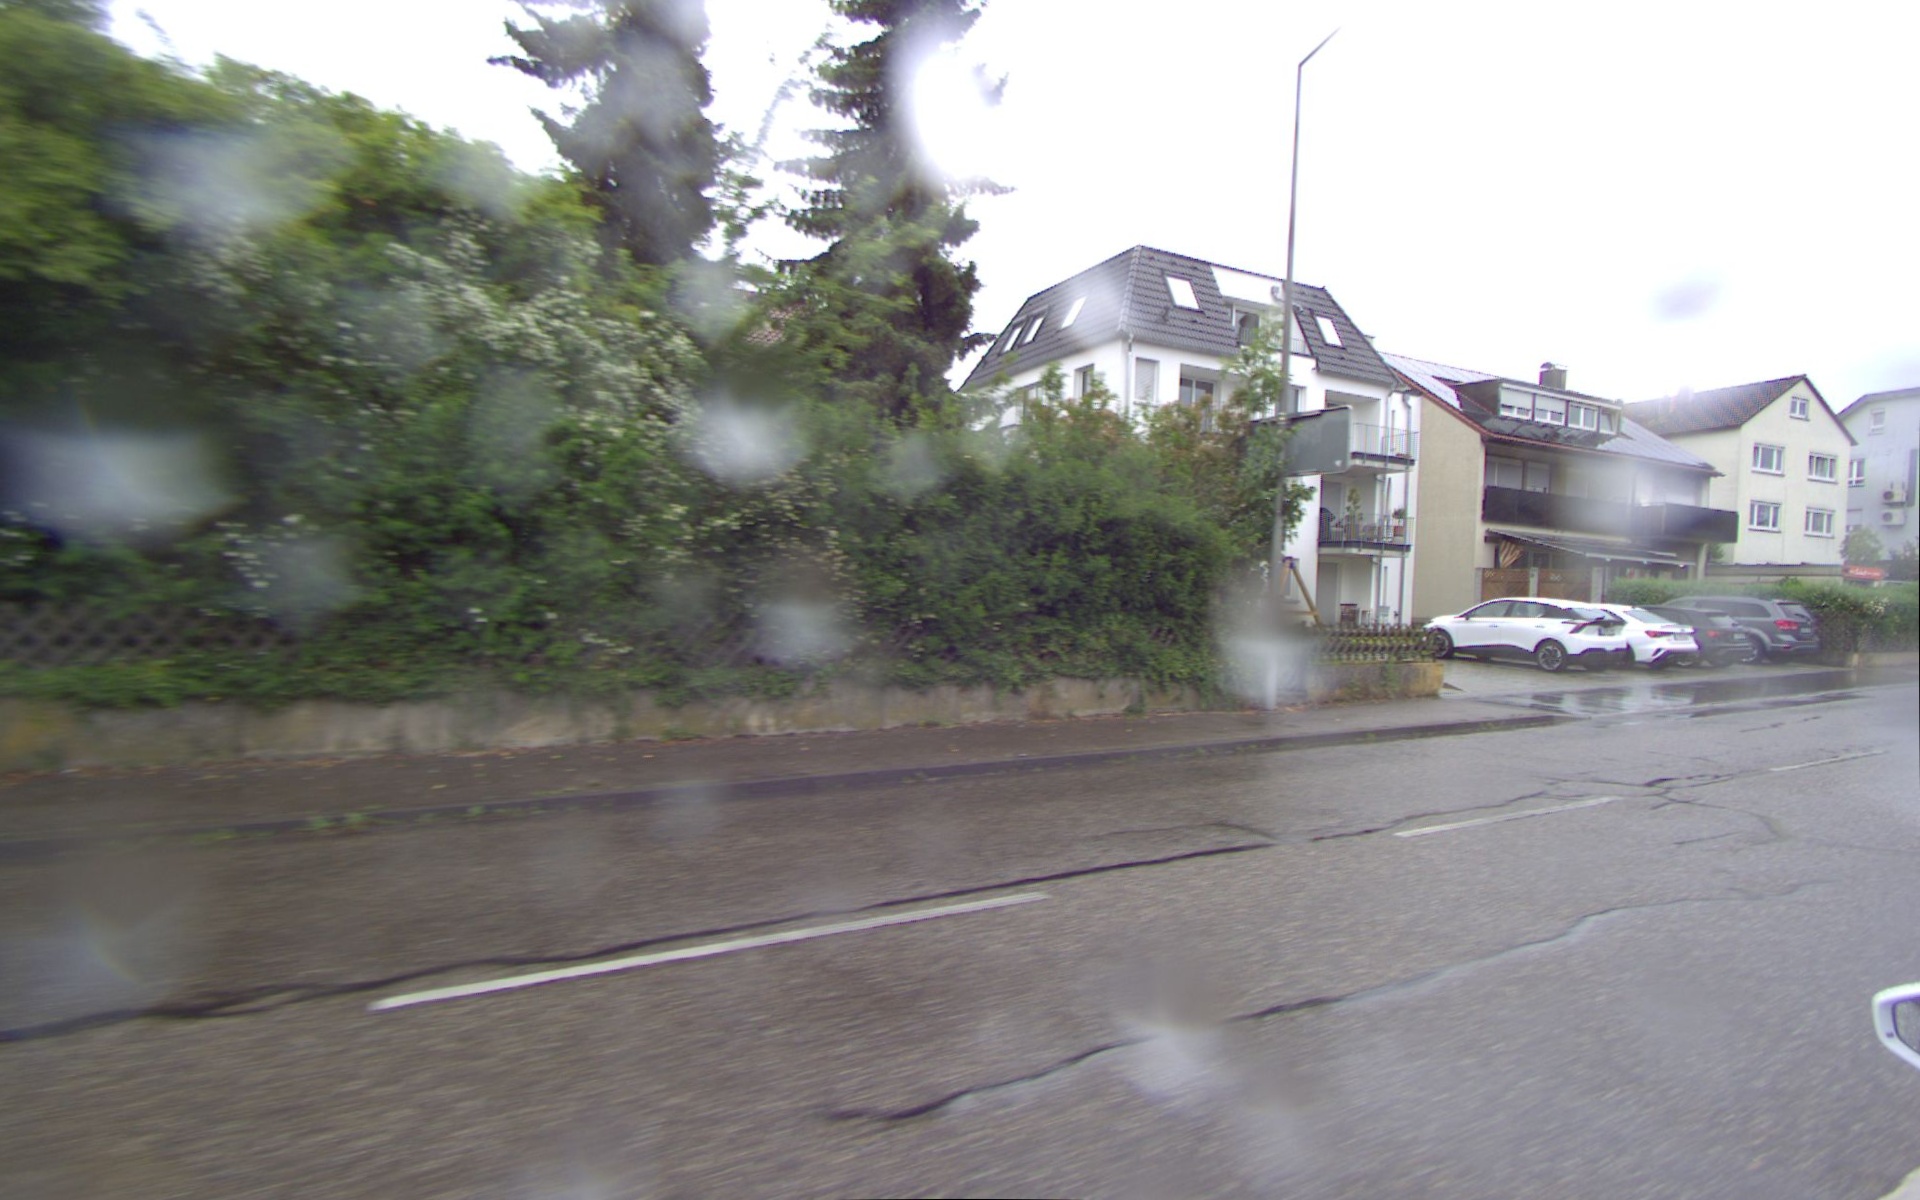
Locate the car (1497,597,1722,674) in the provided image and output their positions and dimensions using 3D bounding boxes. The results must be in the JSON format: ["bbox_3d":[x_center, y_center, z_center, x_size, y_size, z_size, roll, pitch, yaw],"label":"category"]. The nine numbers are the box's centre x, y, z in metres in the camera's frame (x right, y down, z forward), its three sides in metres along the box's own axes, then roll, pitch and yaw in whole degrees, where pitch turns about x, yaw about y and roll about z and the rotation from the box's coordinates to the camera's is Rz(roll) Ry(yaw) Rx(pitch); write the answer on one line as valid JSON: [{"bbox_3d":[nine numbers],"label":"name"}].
[{"bbox_3d":[15.066,0.766,23.532,1.944,1.454,3.974,1,2,-25],"label":"car"}]

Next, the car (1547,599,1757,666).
[{"bbox_3d":[16.948,0.762,24.820,1.682,1.465,3.976,2,0,-24],"label":"car"}]

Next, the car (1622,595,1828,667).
[{"bbox_3d":[20.075,0.756,26.559,1.783,1.709,3.978,2,0,-22],"label":"car"}]

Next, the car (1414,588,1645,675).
[{"bbox_3d":[12.581,0.643,22.480,1.931,1.606,4.084,2,2,-26],"label":"car"}]
